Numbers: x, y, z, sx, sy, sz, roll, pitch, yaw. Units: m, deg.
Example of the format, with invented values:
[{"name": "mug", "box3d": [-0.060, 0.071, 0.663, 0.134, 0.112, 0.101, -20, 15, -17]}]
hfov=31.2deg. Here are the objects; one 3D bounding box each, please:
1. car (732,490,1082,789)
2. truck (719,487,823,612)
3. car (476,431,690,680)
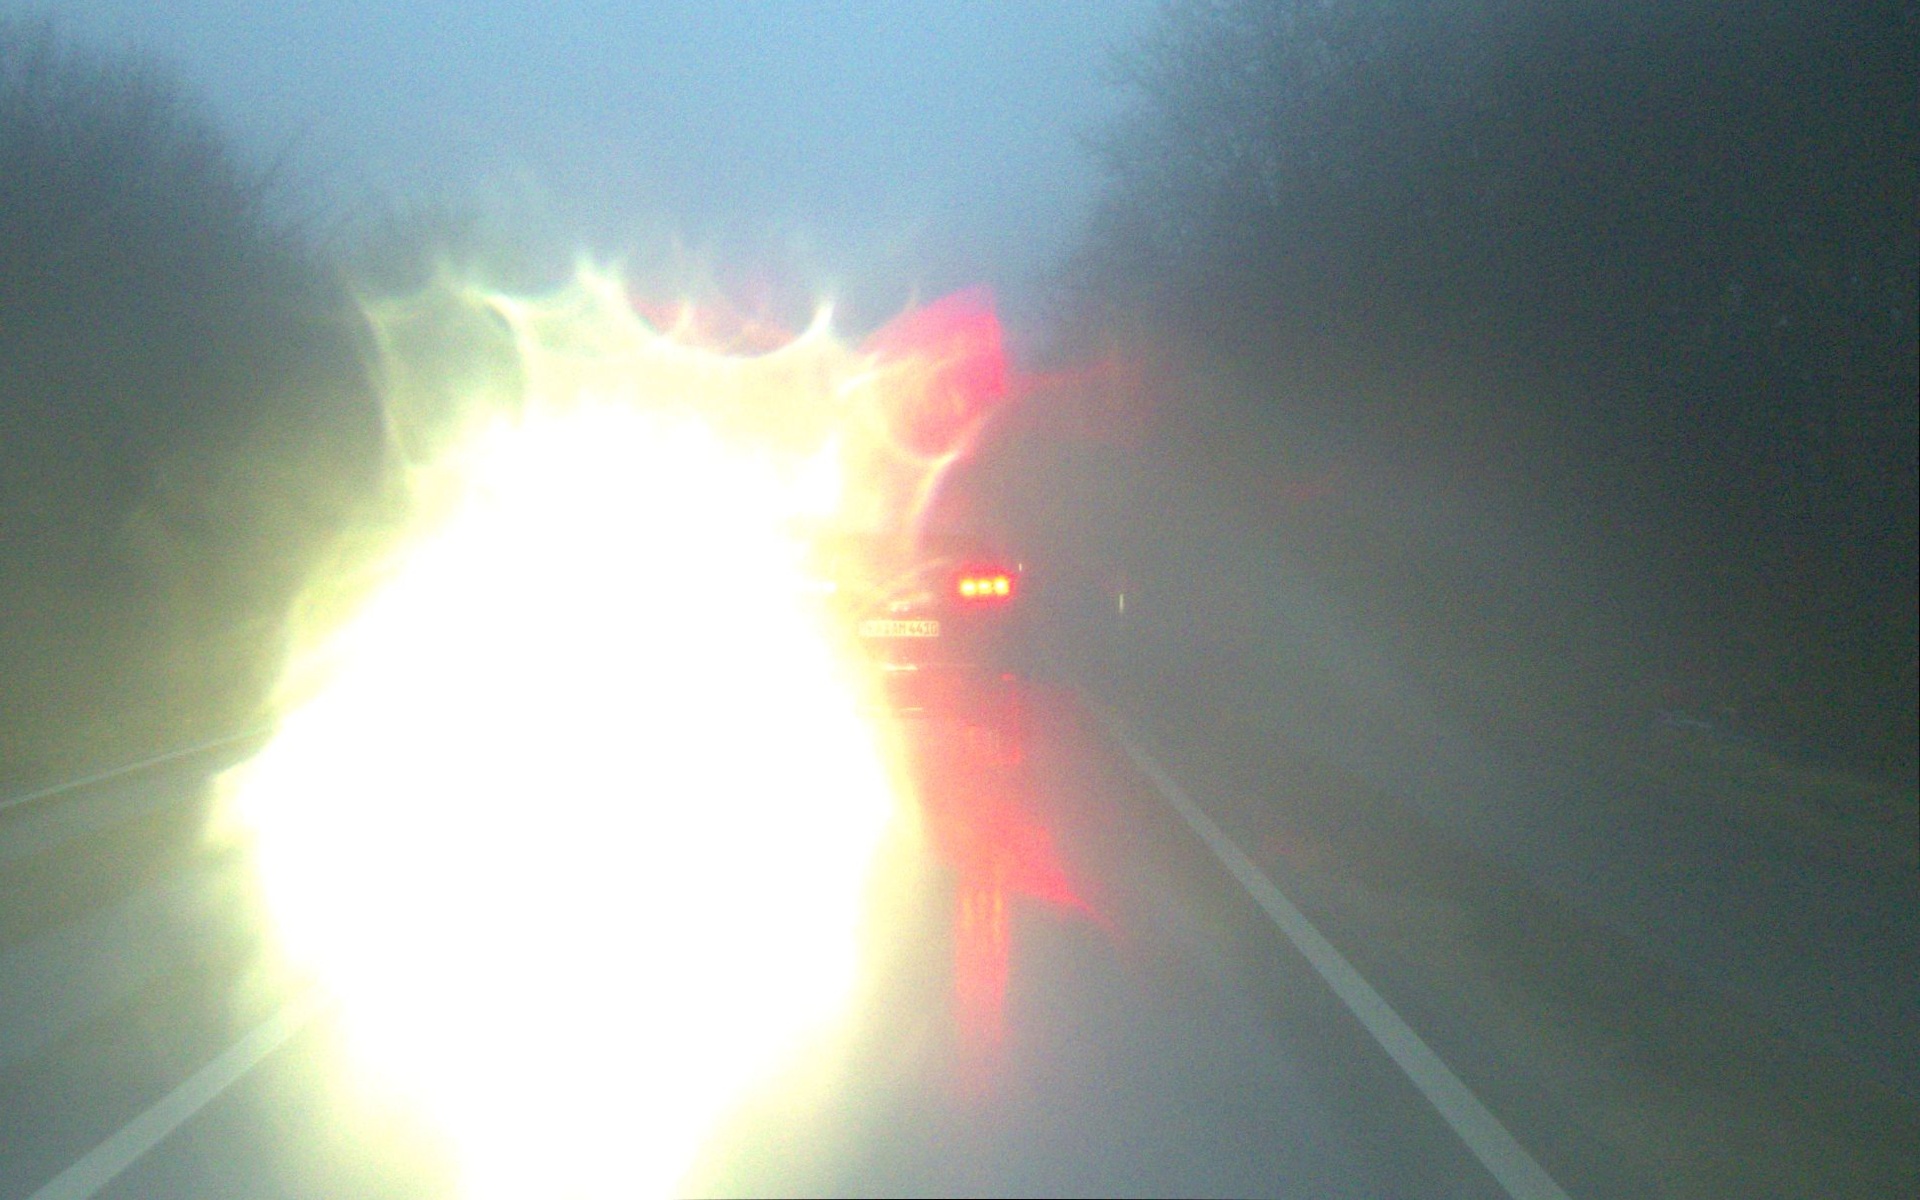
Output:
[{"name": "car", "box3d": [-0.373, 0.219, 24.313, 2.198, 1.871, 4.827, 1, 1, -1]}, {"name": "truck", "box3d": [-4.378, -1.204, 80.505, 2.103, 2.762, 6.872, 1, 1, -1]}, {"name": "car", "box3d": [-4.531, -0.548, 42.253, 2.073, 2.801, 6.654, 0, 1, -2]}]
